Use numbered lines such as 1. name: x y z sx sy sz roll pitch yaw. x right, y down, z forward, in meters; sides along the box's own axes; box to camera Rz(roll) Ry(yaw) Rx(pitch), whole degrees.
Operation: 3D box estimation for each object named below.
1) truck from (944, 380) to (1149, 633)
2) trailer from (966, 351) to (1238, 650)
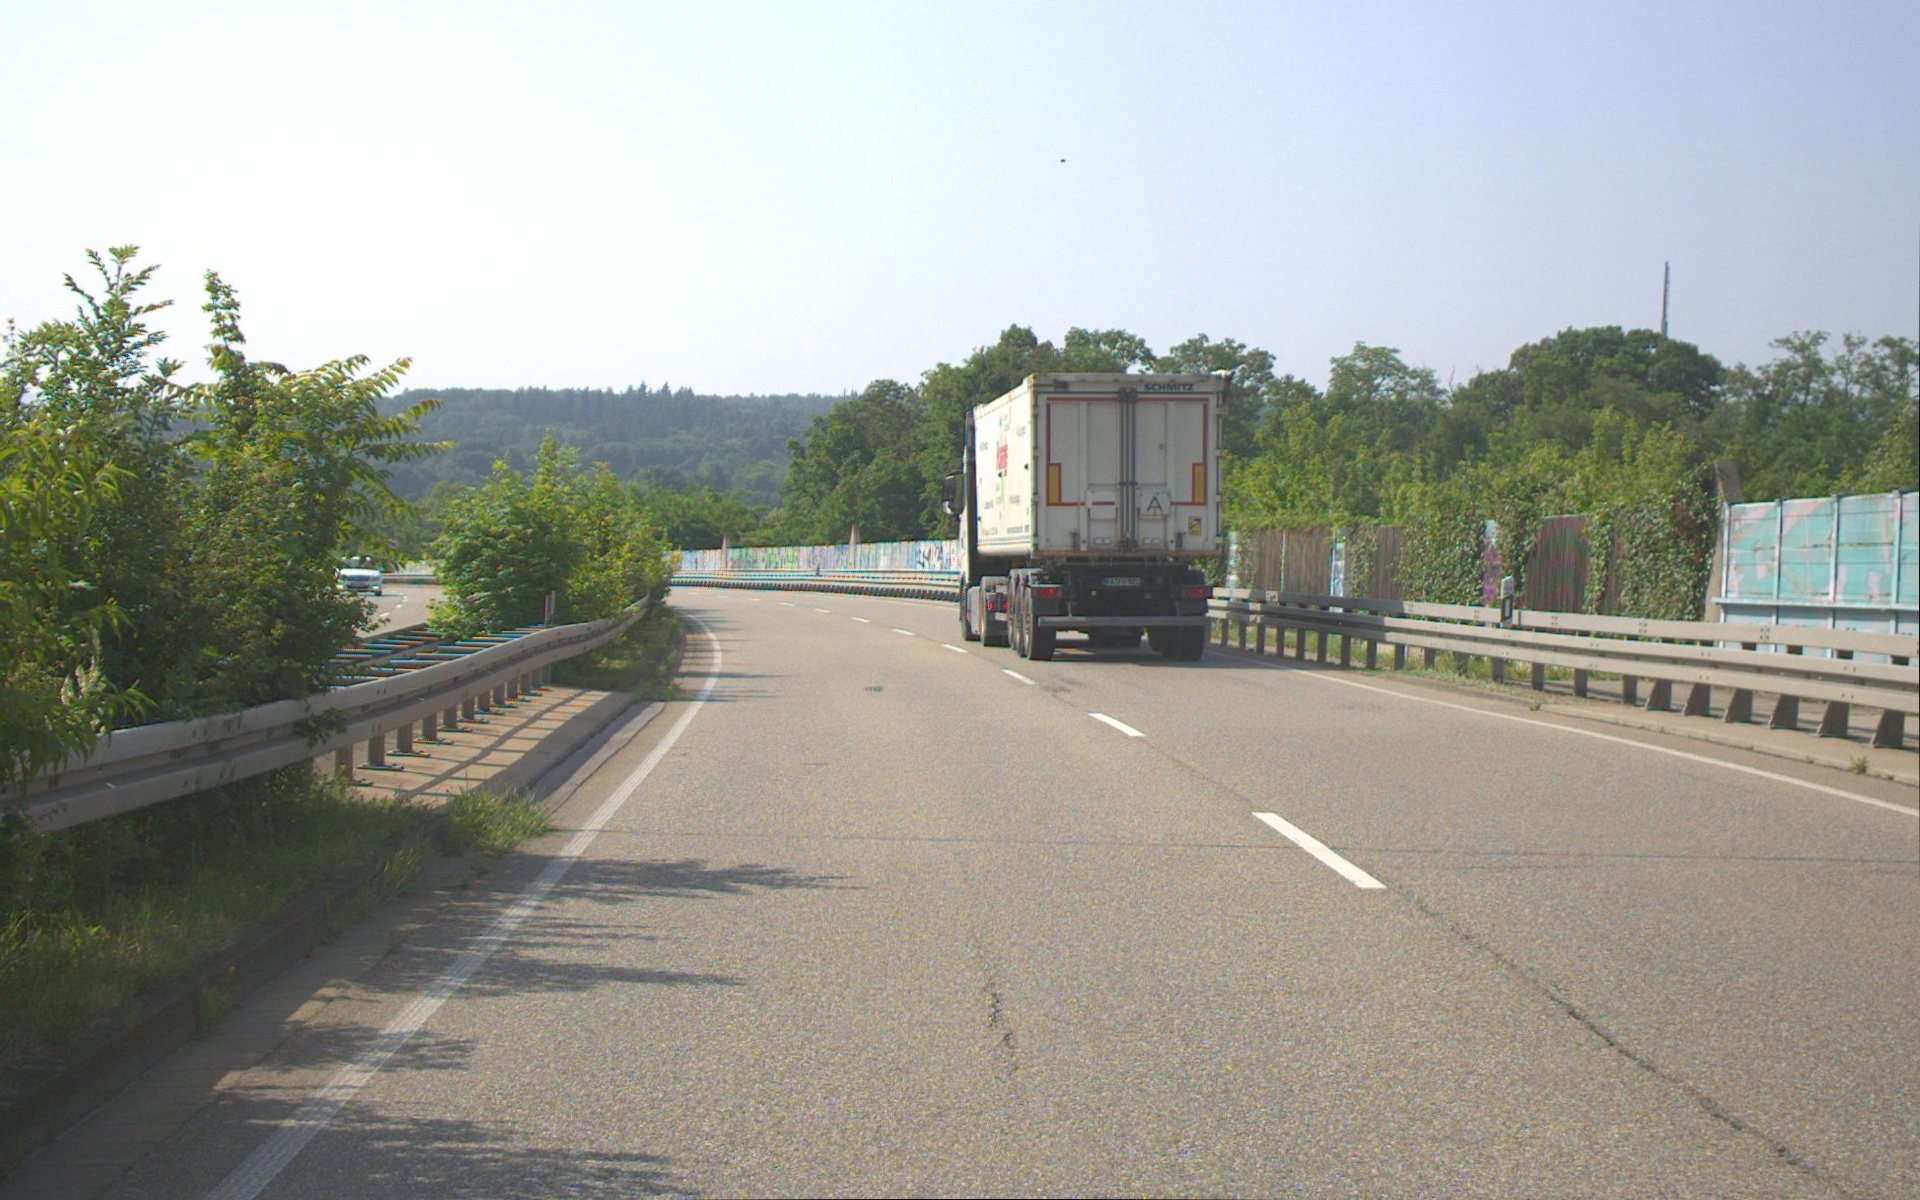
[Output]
1. truck: 1.327 -1.506 56.056 2.658 3.883 5.649 1 1 -5
2. trailer: 1.879 -1.390 50.000 2.679 3.894 9.674 1 1 -5
